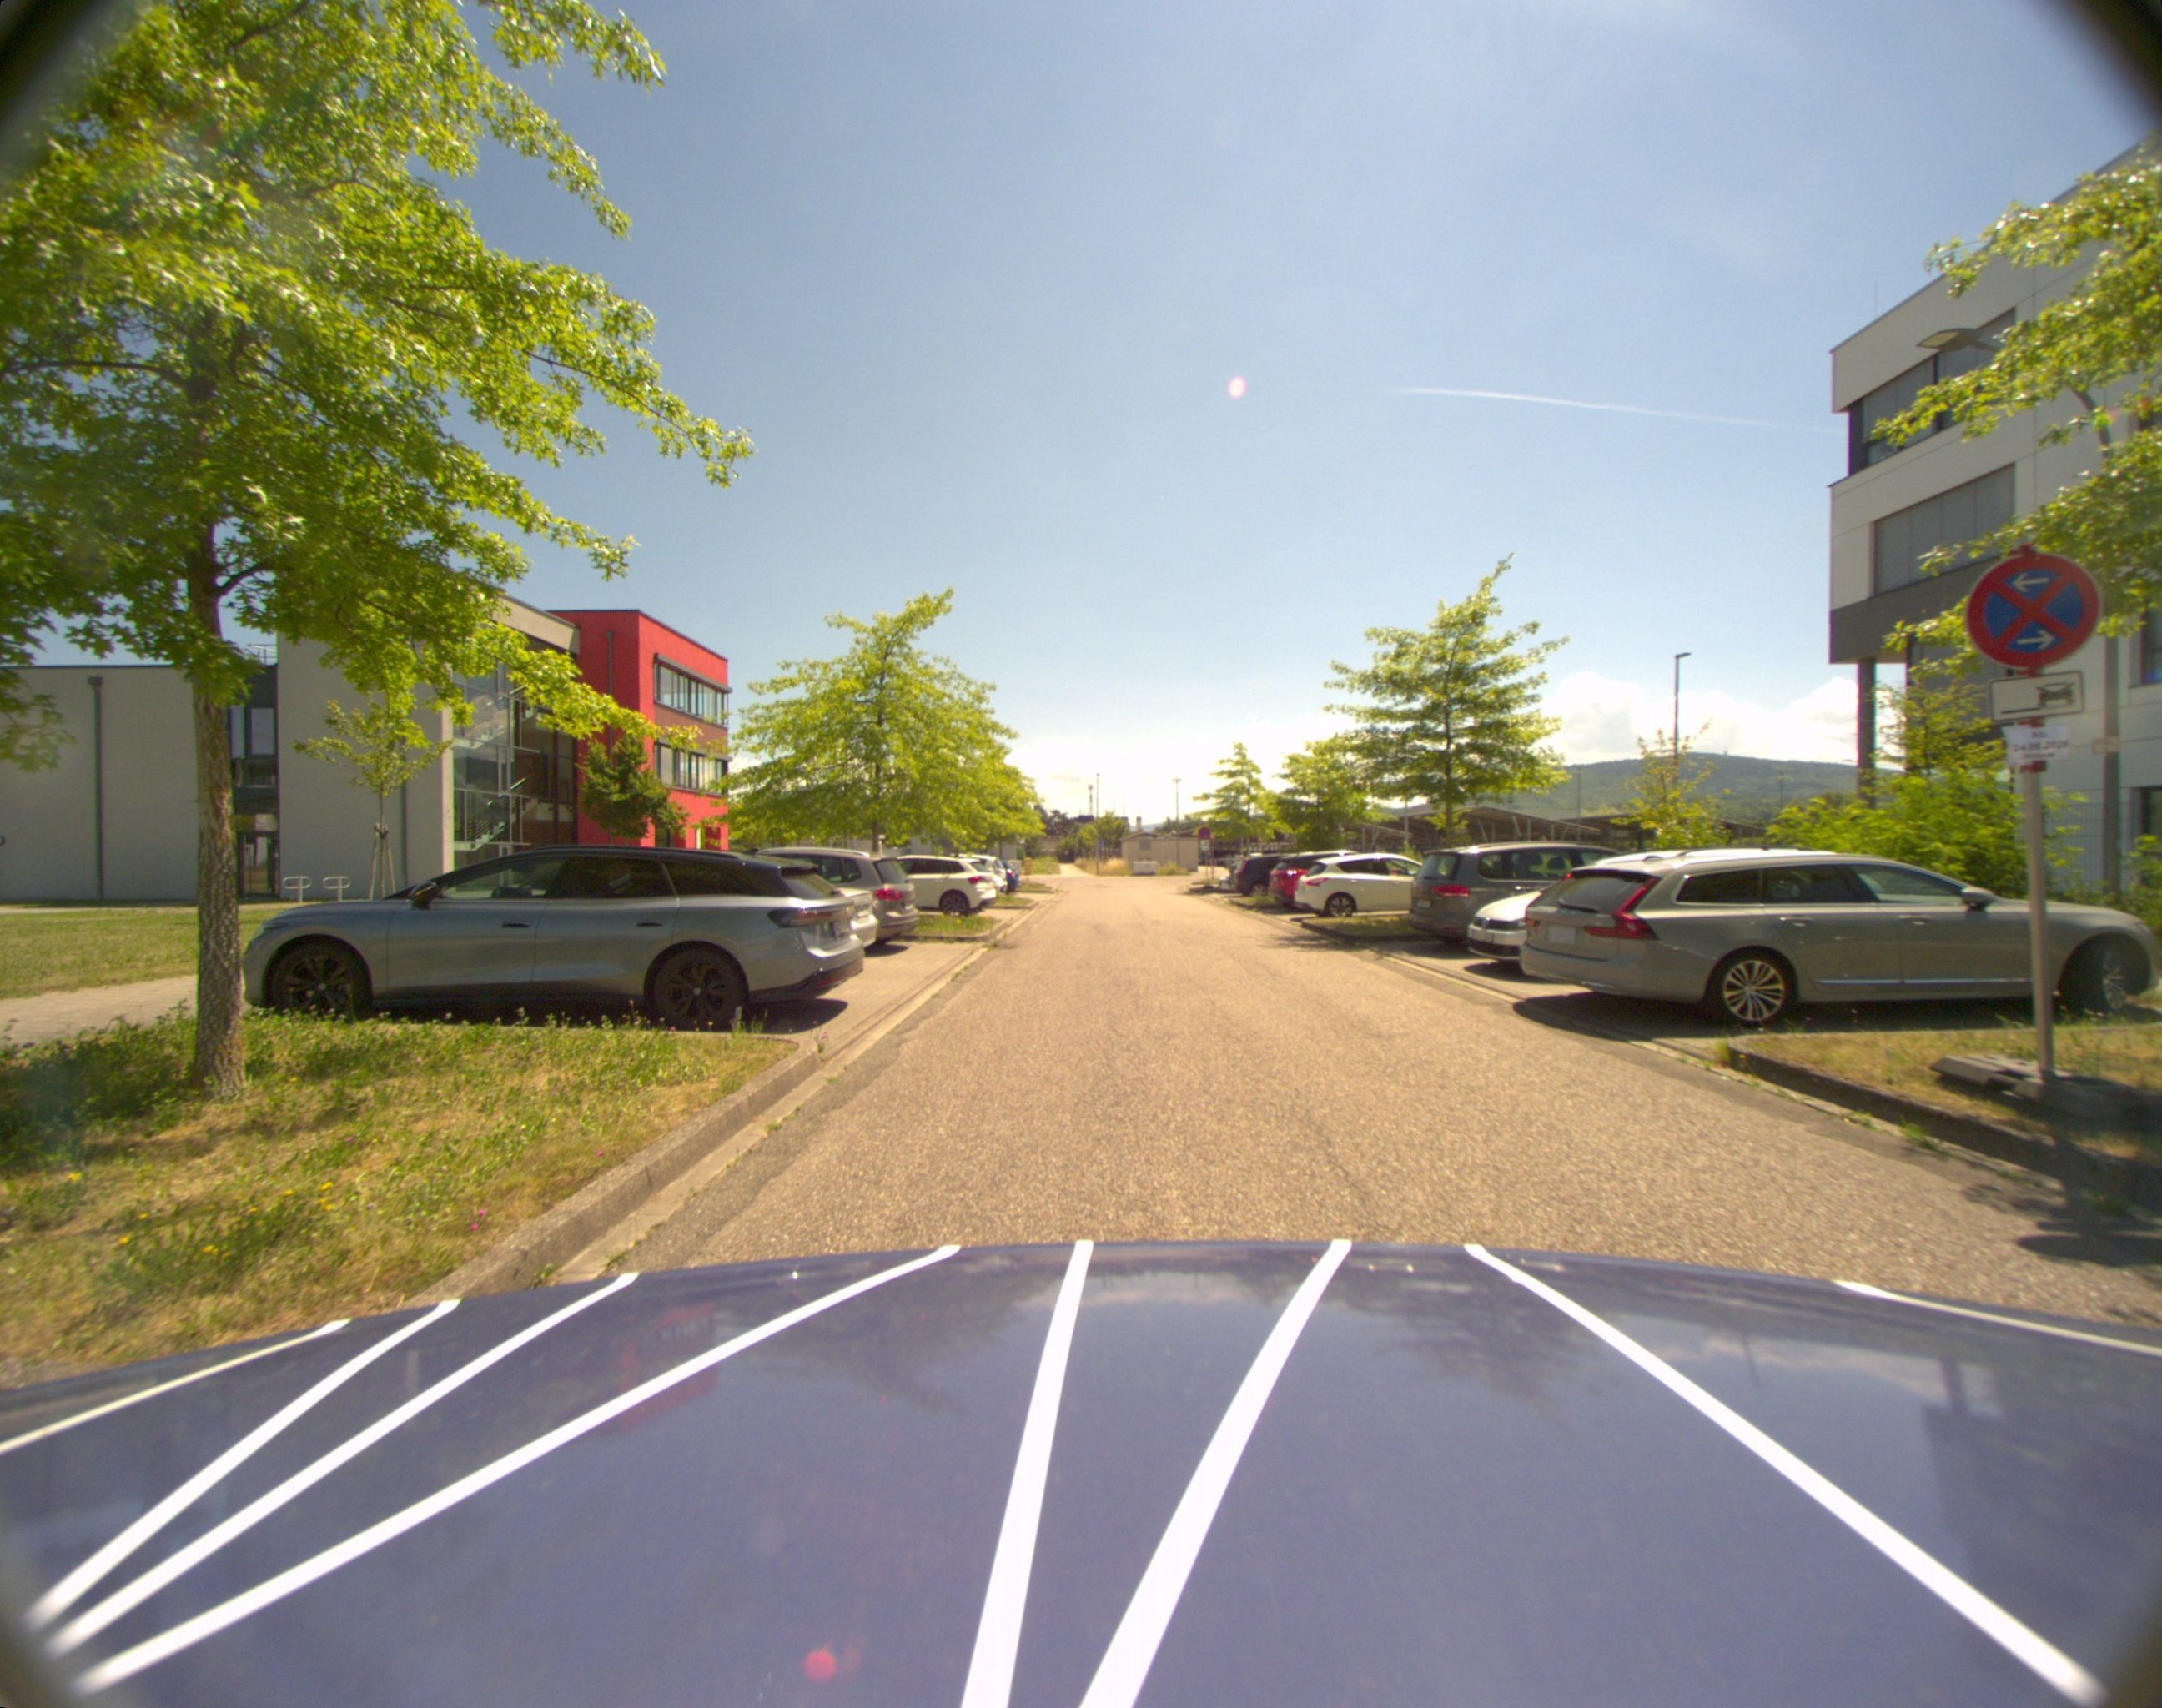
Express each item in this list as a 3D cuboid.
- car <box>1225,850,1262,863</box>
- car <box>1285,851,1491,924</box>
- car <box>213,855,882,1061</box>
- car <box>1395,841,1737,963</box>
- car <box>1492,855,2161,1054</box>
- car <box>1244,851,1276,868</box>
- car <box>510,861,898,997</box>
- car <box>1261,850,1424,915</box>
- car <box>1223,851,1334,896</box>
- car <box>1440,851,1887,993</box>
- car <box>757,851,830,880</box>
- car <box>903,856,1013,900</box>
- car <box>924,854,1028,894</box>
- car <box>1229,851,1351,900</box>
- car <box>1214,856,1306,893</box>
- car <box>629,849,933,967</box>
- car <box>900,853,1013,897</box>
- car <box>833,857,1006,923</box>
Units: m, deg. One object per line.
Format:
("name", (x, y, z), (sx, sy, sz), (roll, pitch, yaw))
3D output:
("car", (18.669, 0.306, 87.410), (3.774, 1.428, 1.723), (0, 0, -3))
("car", (7.253, 0.794, 18.273), (4.182, 1.504, 1.808), (-2, -1, 3))
("car", (-4.447, 0.839, 6.989), (4.729, 1.552, 1.913), (1, 0, -2))
("car", (7.309, 0.702, 11.793), (4.127, 1.625, 1.728), (-2, 0, 3))
("car", (6.715, 0.817, 7.086), (4.725, 1.439, 1.857), (-2, 0, 0))
("car", (15.685, 0.473, 66.754), (1.722, 1.428, 3.775), (0, 0, -3))
("car", (-4.549, 0.865, 9.561), (4.056, 1.444, 1.646), (1, 0, 2))
("car", (7.143, 0.751, 21.007), (3.849, 1.582, 1.727), (-2, 0, -1))
("car", (7.762, 0.765, 30.129), (3.848, 1.584, 1.829), (-2, 0, -2))
("car", (7.140, 0.784, 9.627), (4.322, 1.464, 1.727), (-2, 0, -1))
("car", (-18.430, 0.777, 48.804), (3.997, 1.764, 1.811), (-1, -2, 1))
("car", (-4.379, 0.831, 27.428), (3.626, 1.454, 1.611), (1, 0, 3))
("car", (-4.422, 0.818, 32.279), (4.004, 1.481, 1.728), (2, 0, 5))
("car", (7.446, 0.763, 27.363), (3.915, 1.582, 1.728), (-2, 0, 5))
("car", (7.663, 0.851, 32.668), (3.513, 1.433, 1.727), (-2, 0, 1))
("car", (-4.546, 0.781, 11.899), (4.056, 1.615, 1.693), (1, 0, 2))
("car", (-4.876, 0.809, 30.141), (4.119, 1.640, 1.774), (0, 0, 3))
("car", (-3.967, 0.861, 18.973), (3.842, 1.544, 1.780), (0, 0, 6))
